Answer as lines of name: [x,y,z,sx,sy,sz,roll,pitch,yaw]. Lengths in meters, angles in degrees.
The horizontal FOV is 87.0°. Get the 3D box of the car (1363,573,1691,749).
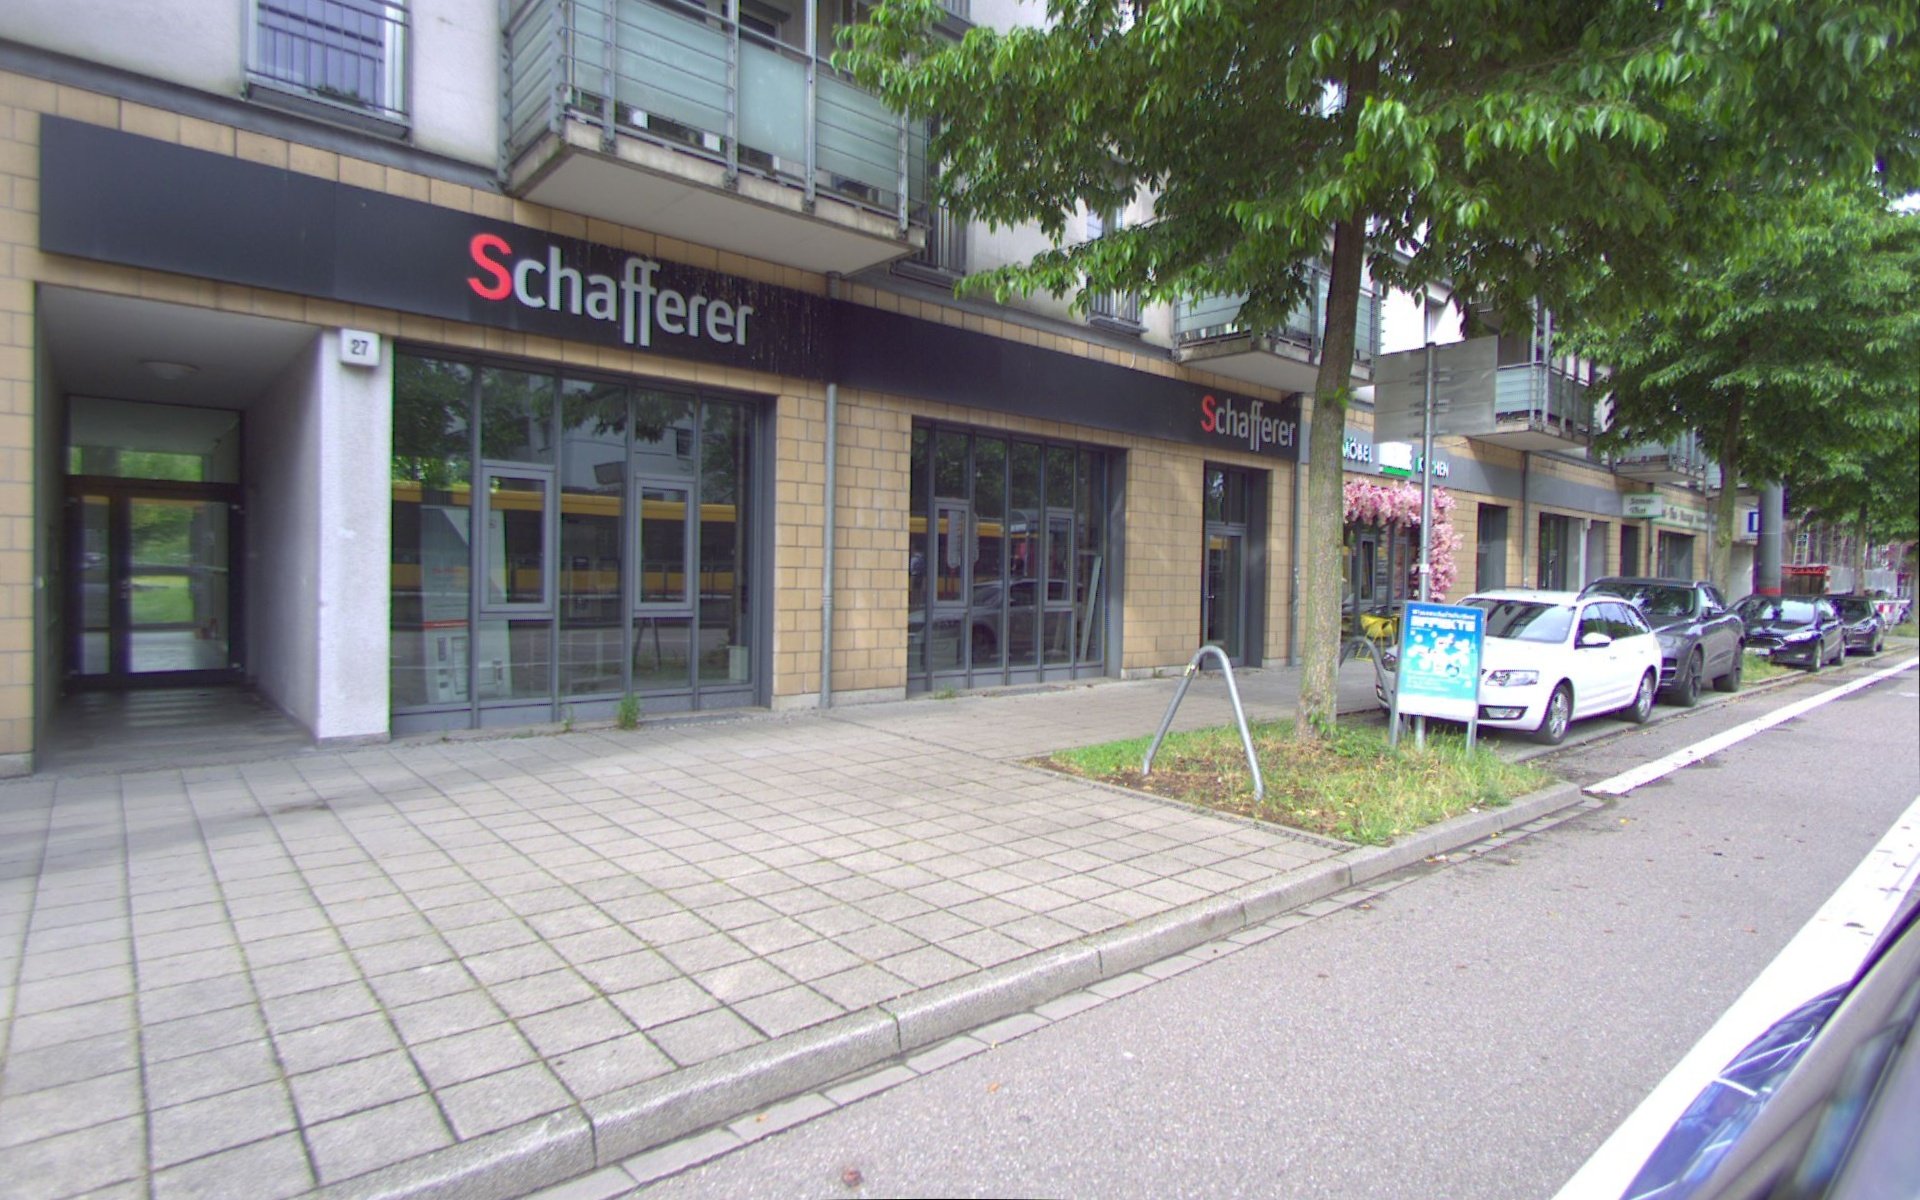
car: [6.405,0.520,11.234,4.312,1.517,1.681,-1,4,-40]

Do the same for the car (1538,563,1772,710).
car: [10.150,0.400,14.626,4.632,1.737,1.715,-1,4,-43]

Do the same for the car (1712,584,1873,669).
car: [16.992,0.457,20.579,4.329,1.459,1.681,-1,4,-40]

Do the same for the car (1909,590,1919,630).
car: [38.525,0.402,39.466,4.206,1.478,1.754,-1,3,-42]

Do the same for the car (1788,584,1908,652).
car: [22.627,0.390,25.734,4.315,1.472,1.800,-1,5,-43]
